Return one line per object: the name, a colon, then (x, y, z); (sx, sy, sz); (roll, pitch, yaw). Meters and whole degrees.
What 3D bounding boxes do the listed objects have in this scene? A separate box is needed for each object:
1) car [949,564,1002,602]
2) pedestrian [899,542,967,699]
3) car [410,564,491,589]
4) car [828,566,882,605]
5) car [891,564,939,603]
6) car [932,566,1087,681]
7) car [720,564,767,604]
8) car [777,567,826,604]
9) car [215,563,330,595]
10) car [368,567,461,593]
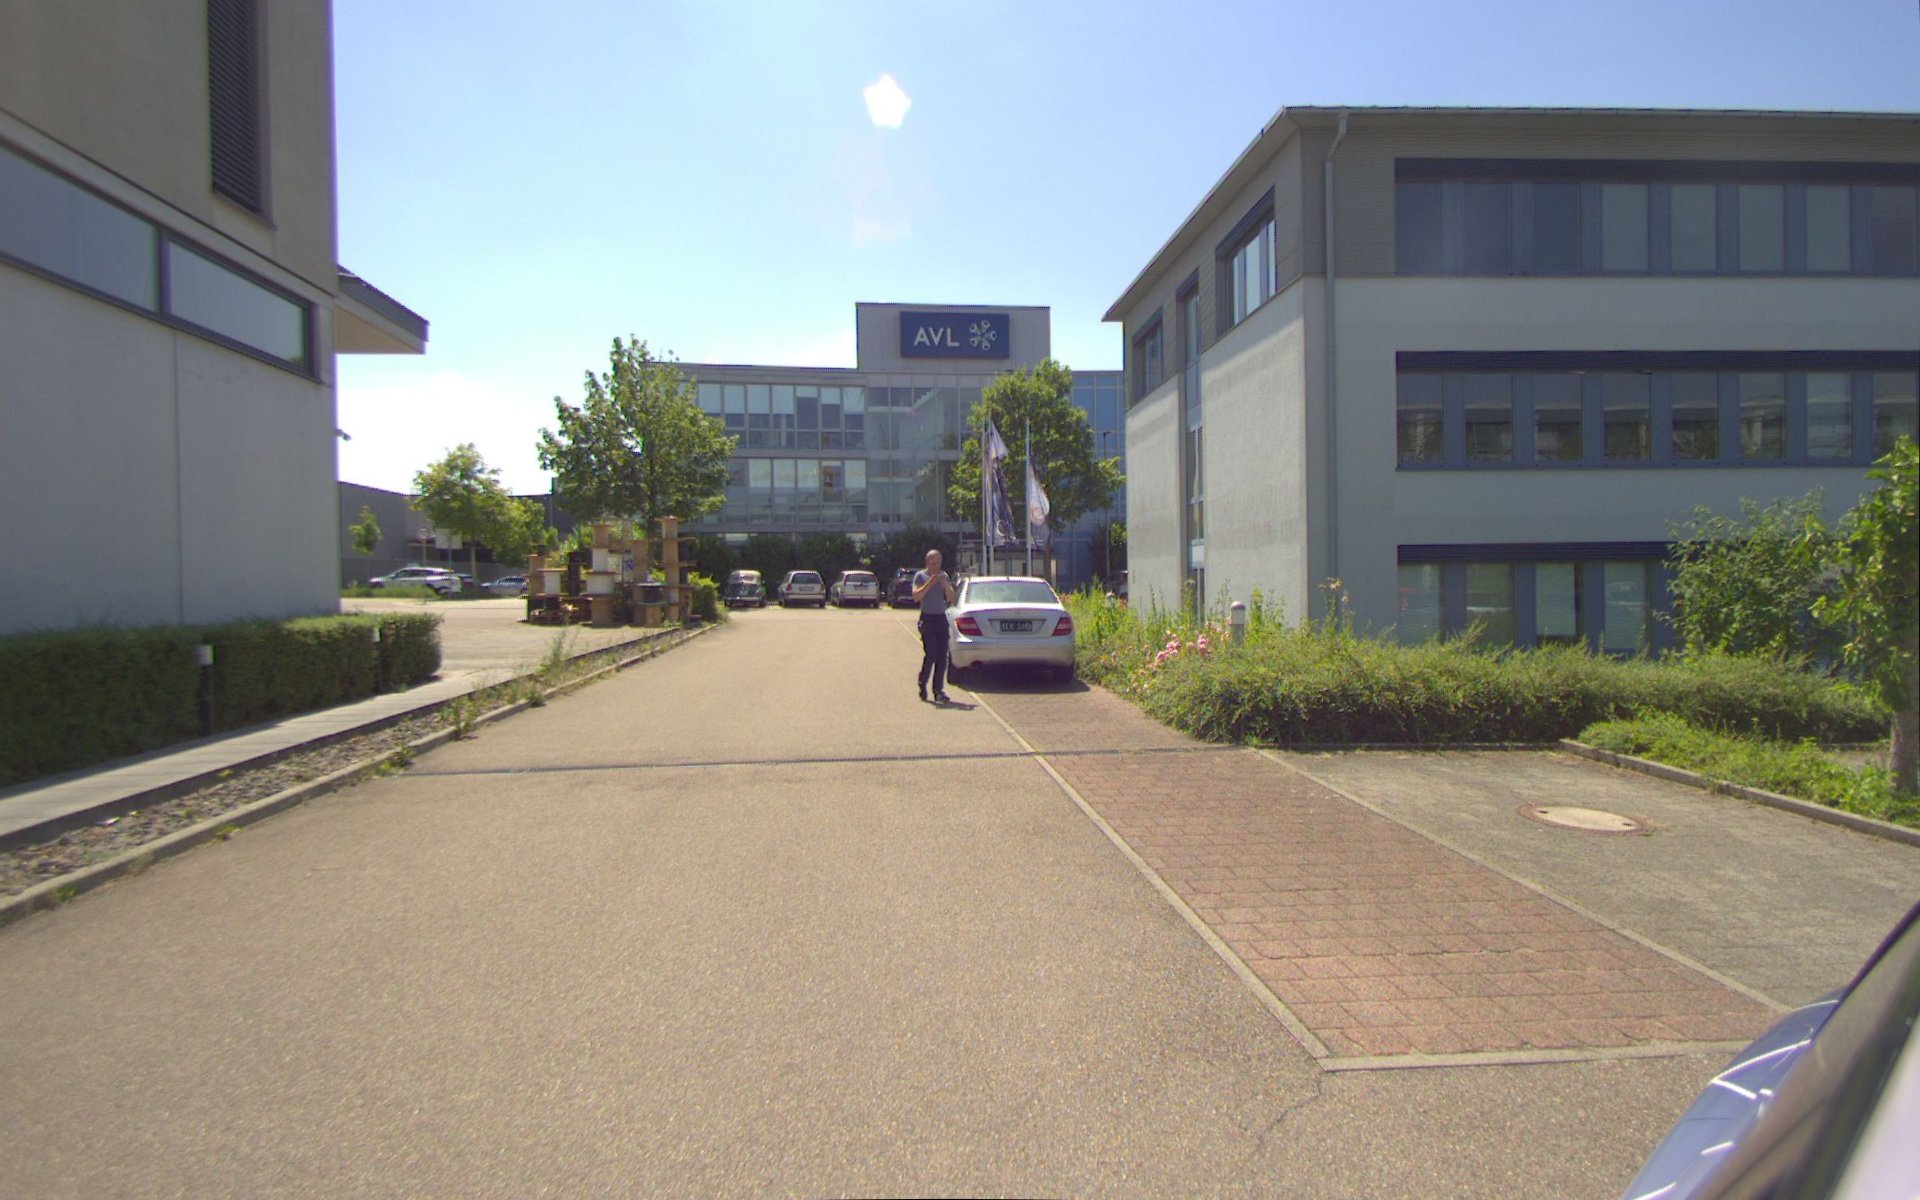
car: (0.607, -0.706, 42.992); (1.714, 1.538, 4.005); (0, 1, -7)
pedestrian: (-0.327, 0.230, 11.950); (0.606, 1.779, 0.790); (0, 0, -18)
car: (-30.168, -1.397, 59.944); (3.996, 1.433, 1.746); (0, 0, 7)
car: (-4.452, -0.613, 42.344); (1.713, 1.538, 4.008); (0, 1, -14)
car: (-1.924, -0.682, 42.207); (1.714, 1.538, 4.005); (0, 1, -7)
car: (0.585, 0.268, 14.648); (1.695, 1.454, 3.721); (0, 1, -6)
car: (-8.713, -0.647, 40.984); (1.713, 1.538, 4.007); (0, 1, -9)
car: (-6.549, -0.600, 41.493); (1.639, 1.458, 4.008); (0, 1, -14)
car: (-31.747, -0.954, 46.757); (4.373, 1.433, 1.746); (0, 0, 8)
car: (-30.434, -1.094, 56.495); (4.371, 1.433, 1.746); (0, 0, 7)
